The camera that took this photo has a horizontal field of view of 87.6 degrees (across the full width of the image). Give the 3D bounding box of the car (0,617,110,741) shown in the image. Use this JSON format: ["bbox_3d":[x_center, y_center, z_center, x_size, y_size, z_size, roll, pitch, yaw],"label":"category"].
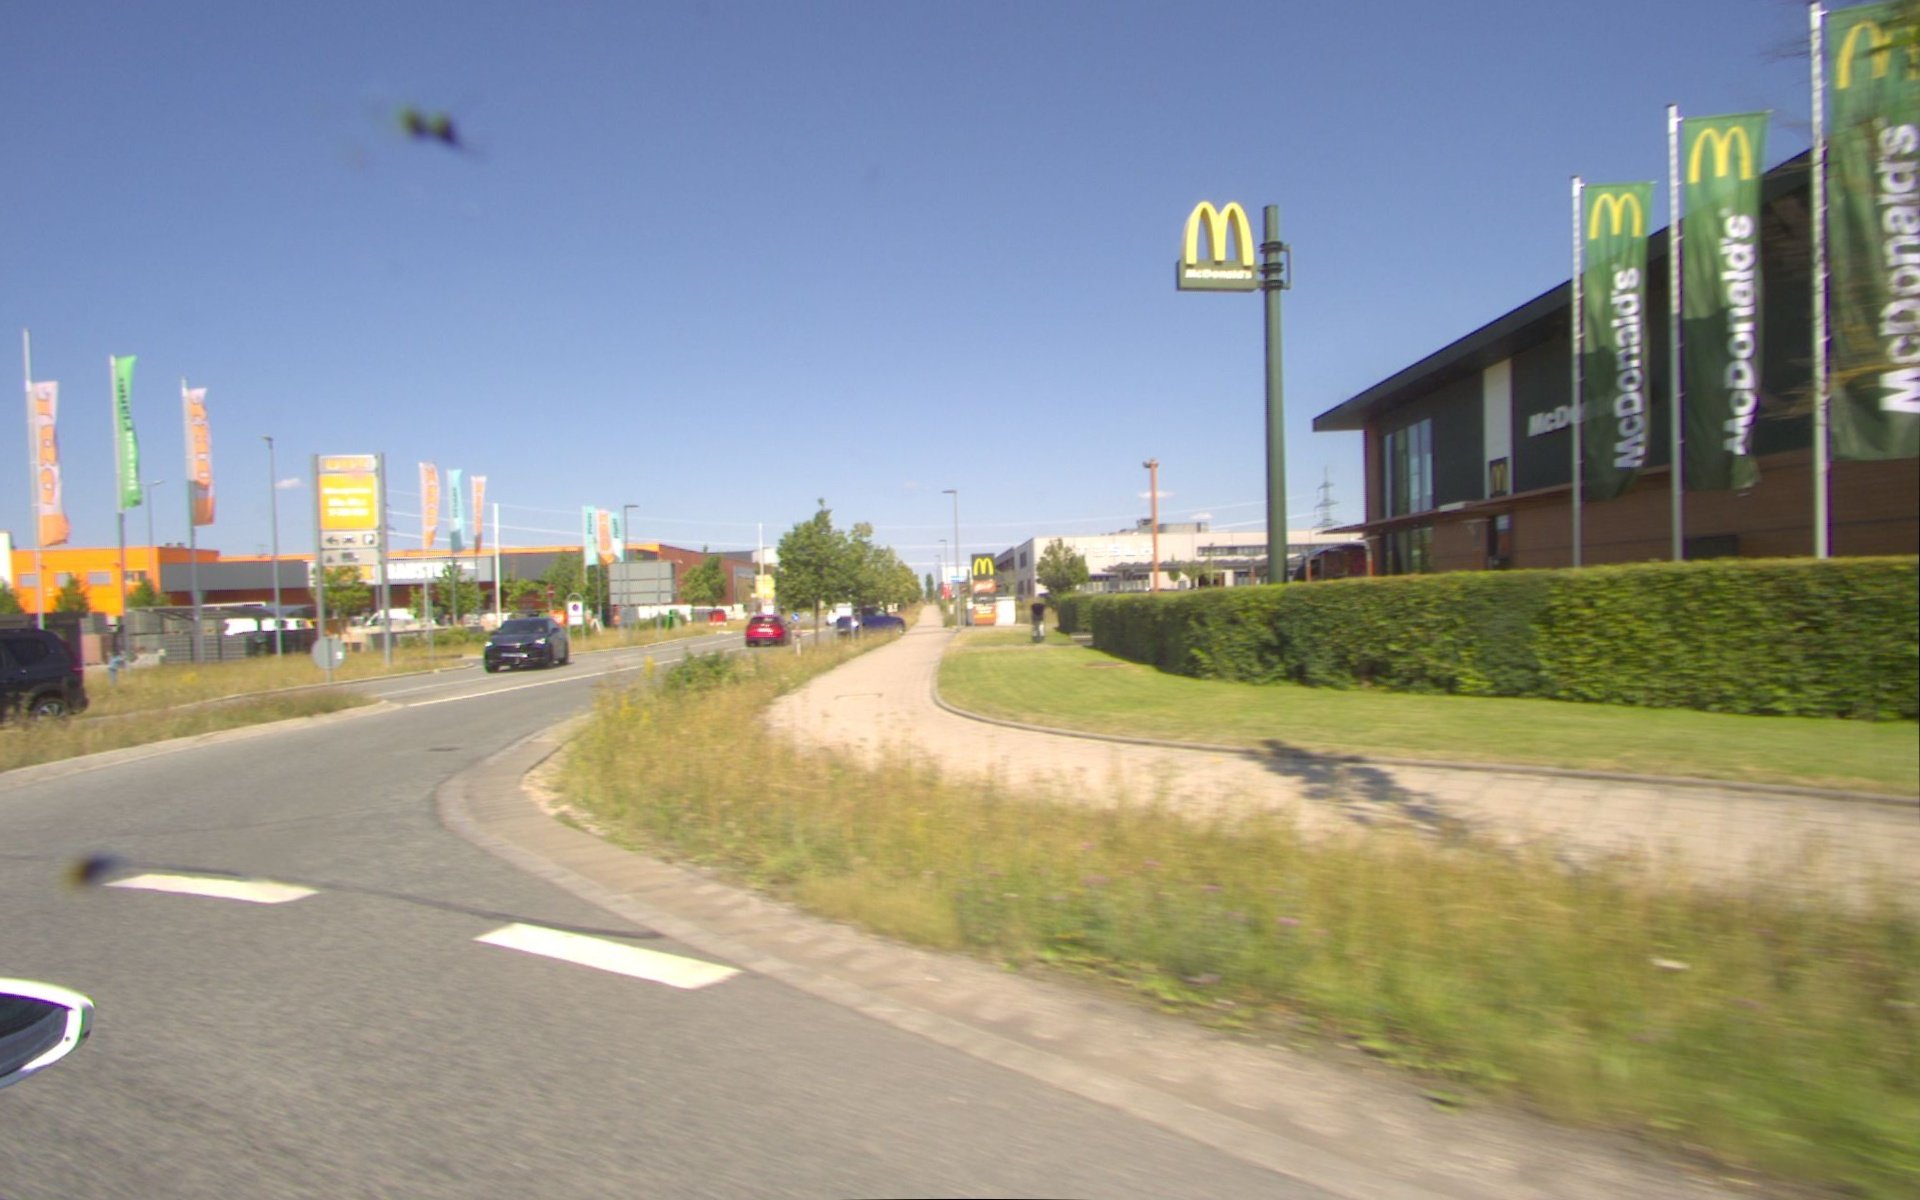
[{"bbox_3d":[-14.691,1.188,13.640,1.919,1.728,4.626,-3,0,6],"label":"car"}]

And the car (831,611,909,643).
[{"bbox_3d":[-4.781,1.413,53.634,1.835,1.657,4.049,-1,-1,39],"label":"car"}]

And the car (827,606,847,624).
[{"bbox_3d":[-10.615,1.256,86.594,1.485,1.459,3.350,-1,0,-3],"label":"car"}]

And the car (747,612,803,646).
[{"bbox_3d":[-8.499,1.301,46.273,1.773,1.434,4.117,0,0,0],"label":"car"}]

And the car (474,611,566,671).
[{"bbox_3d":[-13.861,1.228,31.810,2.042,1.648,4.689,-3,0,-17],"label":"car"}]

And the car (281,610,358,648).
[{"bbox_3d":[-32.817,1.489,51.403,1.667,1.864,3.775,-1,-2,-3],"label":"car"}]
